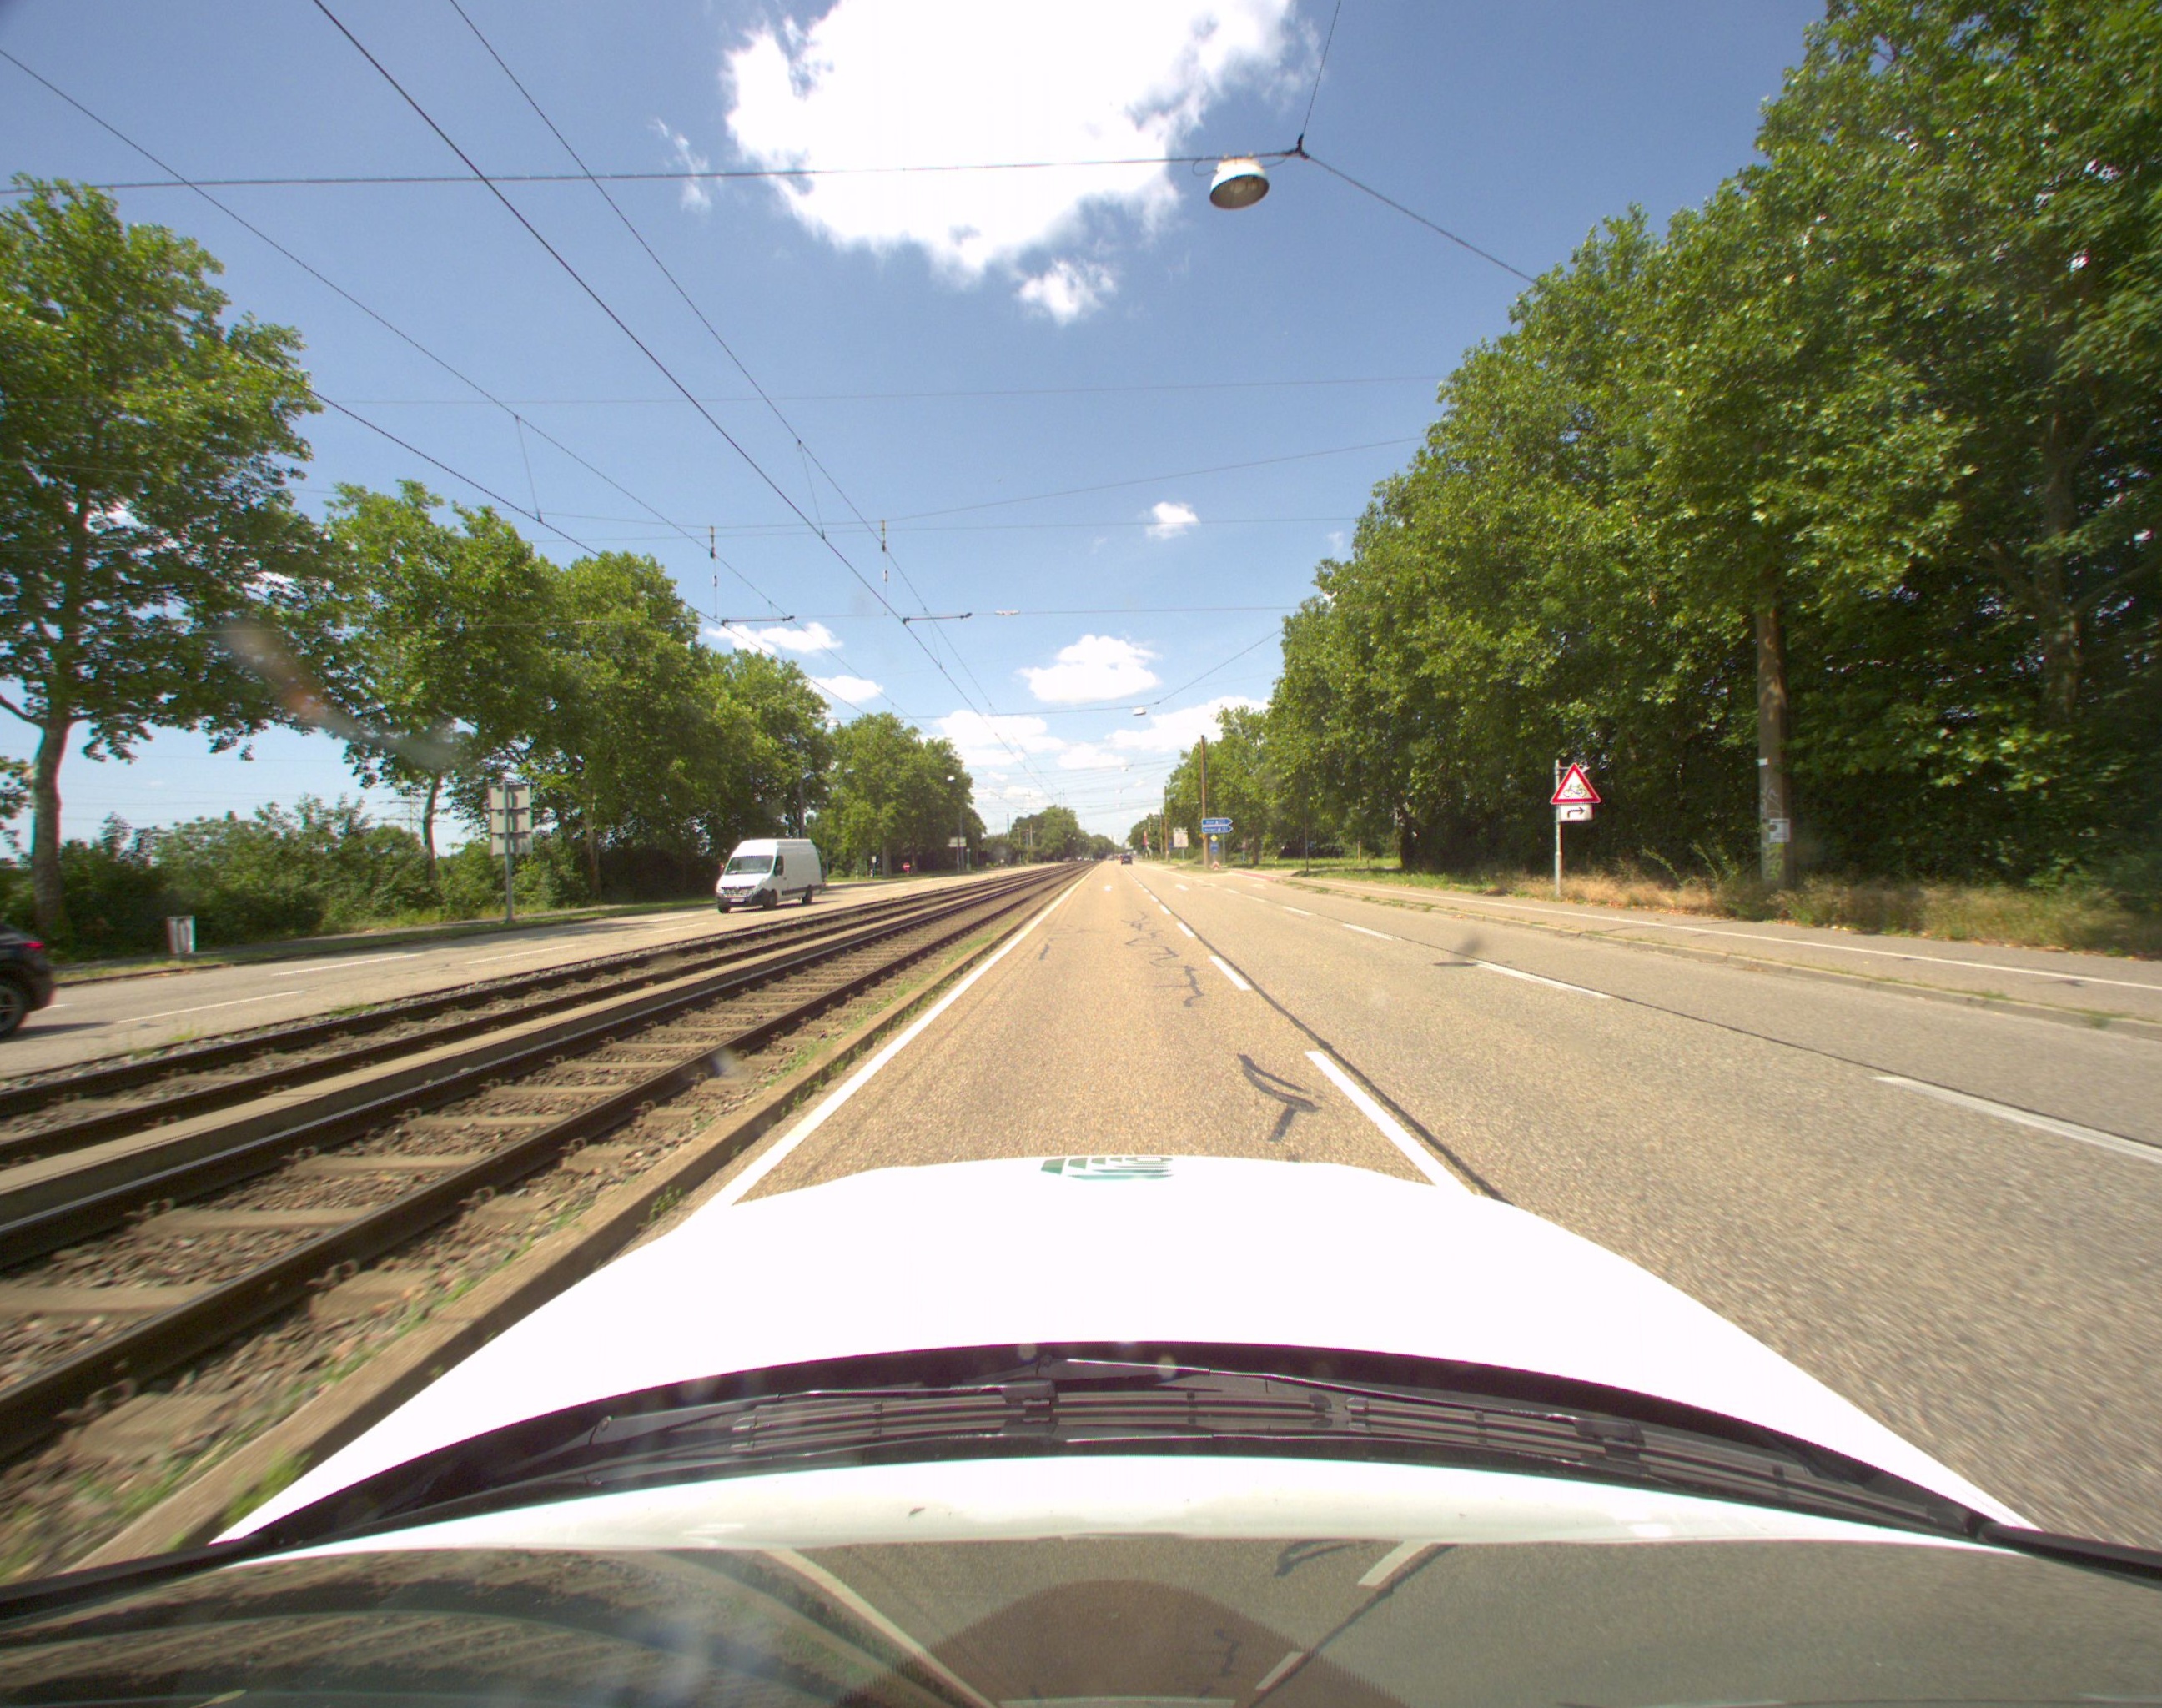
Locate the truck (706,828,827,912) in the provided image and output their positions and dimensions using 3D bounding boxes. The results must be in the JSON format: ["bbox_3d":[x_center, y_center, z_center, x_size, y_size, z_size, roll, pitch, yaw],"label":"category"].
[{"bbox_3d":[-12.335,0.581,32.529,2.046,2.939,6.322,-3,0,2],"label":"truck"}]

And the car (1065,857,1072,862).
[{"bbox_3d":[-3.877,1.750,255.149,1.867,1.332,3.920,-3,0,2],"label":"car"}]

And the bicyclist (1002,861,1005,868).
[{"bbox_3d":[-14.265,1.869,149.196,0.452,1.272,0.398,-2,0,4],"label":"bicyclist"}]

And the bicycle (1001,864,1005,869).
[{"bbox_3d":[-14.278,2.228,149.125,0.513,0.857,1.934,-3,0,5],"label":"bicycle"}]

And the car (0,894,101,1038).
[{"bbox_3d":[-12.658,1.276,7.480,1.811,1.514,4.430,-3,0,2],"label":"car"}]

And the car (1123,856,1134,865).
[{"bbox_3d":[7.543,0.974,129.029,1.580,1.343,3.272,-2,0,1],"label":"car"}]
